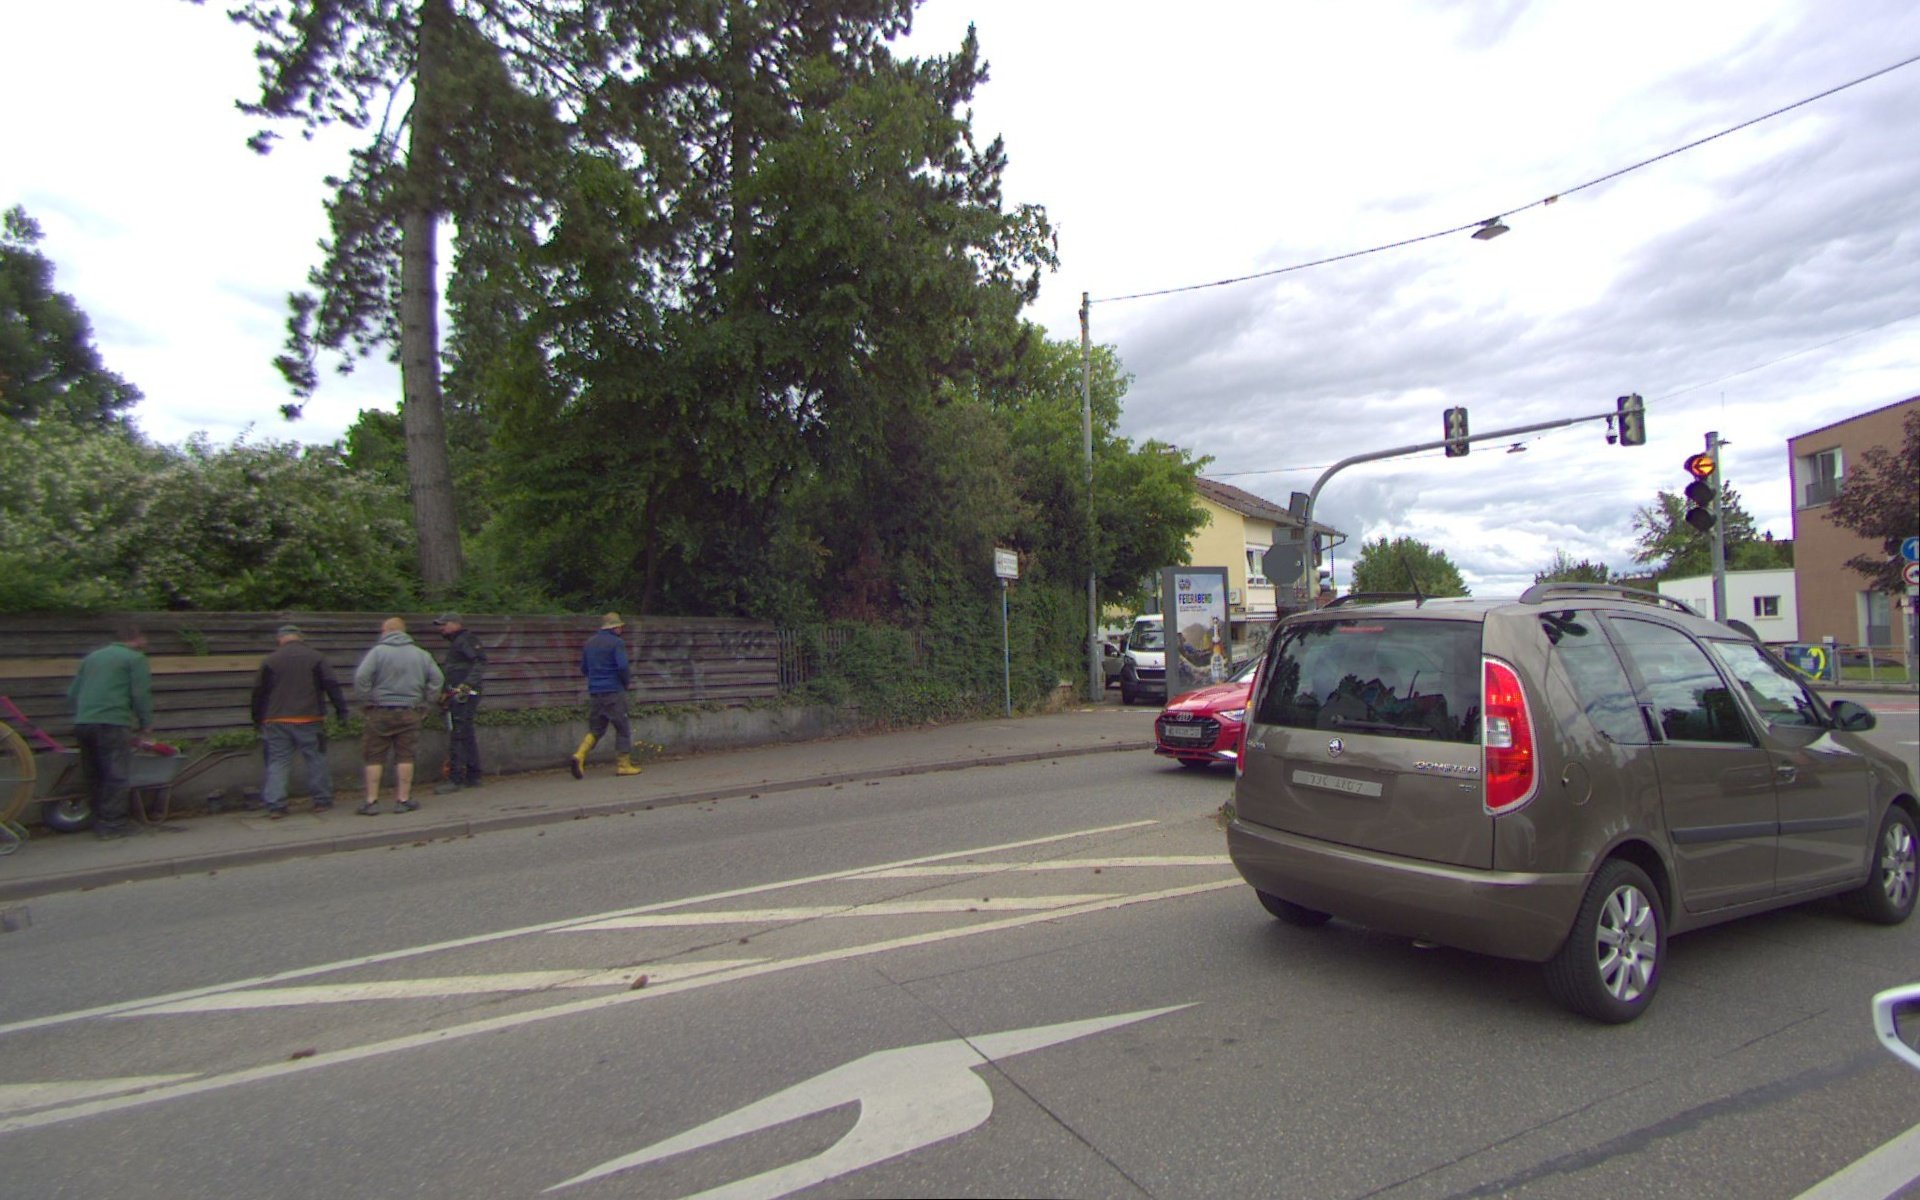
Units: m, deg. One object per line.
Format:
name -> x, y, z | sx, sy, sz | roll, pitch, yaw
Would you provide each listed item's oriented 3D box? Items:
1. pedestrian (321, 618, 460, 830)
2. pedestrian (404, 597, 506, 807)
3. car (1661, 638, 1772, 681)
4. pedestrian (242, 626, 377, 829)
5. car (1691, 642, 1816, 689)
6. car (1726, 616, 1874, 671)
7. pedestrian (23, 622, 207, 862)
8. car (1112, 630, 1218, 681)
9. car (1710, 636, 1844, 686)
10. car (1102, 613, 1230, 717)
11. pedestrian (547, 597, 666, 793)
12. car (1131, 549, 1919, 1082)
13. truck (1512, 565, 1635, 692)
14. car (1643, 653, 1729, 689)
pedestrian -> -5.081, 1.069, 8.983 | 0.855, 1.776, 0.693 | -1, -2, 25
pedestrian -> -5.172, 1.010, 10.284 | 0.806, 2.040, 0.699 | 1, -3, -38
car -> 37.801, 2.980, 50.317 | 3.923, 2.040, 2.000 | -3, -3, 21
pedestrian -> -5.884, 1.132, 9.118 | 0.737, 1.756, 0.696 | -1, -2, 3
car -> 35.811, 2.958, 45.459 | 3.922, 2.040, 2.000 | -1, -3, 20
car -> 32.751, 1.716, 39.301 | 3.923, 2.040, 2.000 | -2, -3, 22
pedestrian -> -6.776, 1.086, 8.081 | 0.802, 1.786, 0.867 | -2, -3, 26
car -> 8.644, 2.342, 42.415 | 3.931, 2.040, 1.996 | -3, -3, 32
car -> 34.894, 2.622, 43.041 | 3.922, 2.040, 2.000 | -2, -3, 21
car -> 5.325, 1.569, 25.196 | 2.243, 2.256, 6.473 | -2, -3, 19
pedestrian -> -3.894, 1.015, 11.108 | 0.697, 2.040, 1.020 | -2, -2, 34
car -> 3.016, 0.774, 5.109 | 3.953, 1.728, 1.885 | 1, -3, -30
truck -> 26.458, 1.308, 43.938 | 3.076, 4.796, 11.787 | -2, -3, 25
car -> 43.042, 4.216, 59.656 | 3.932, 2.040, 1.995 | -3, -3, 33
